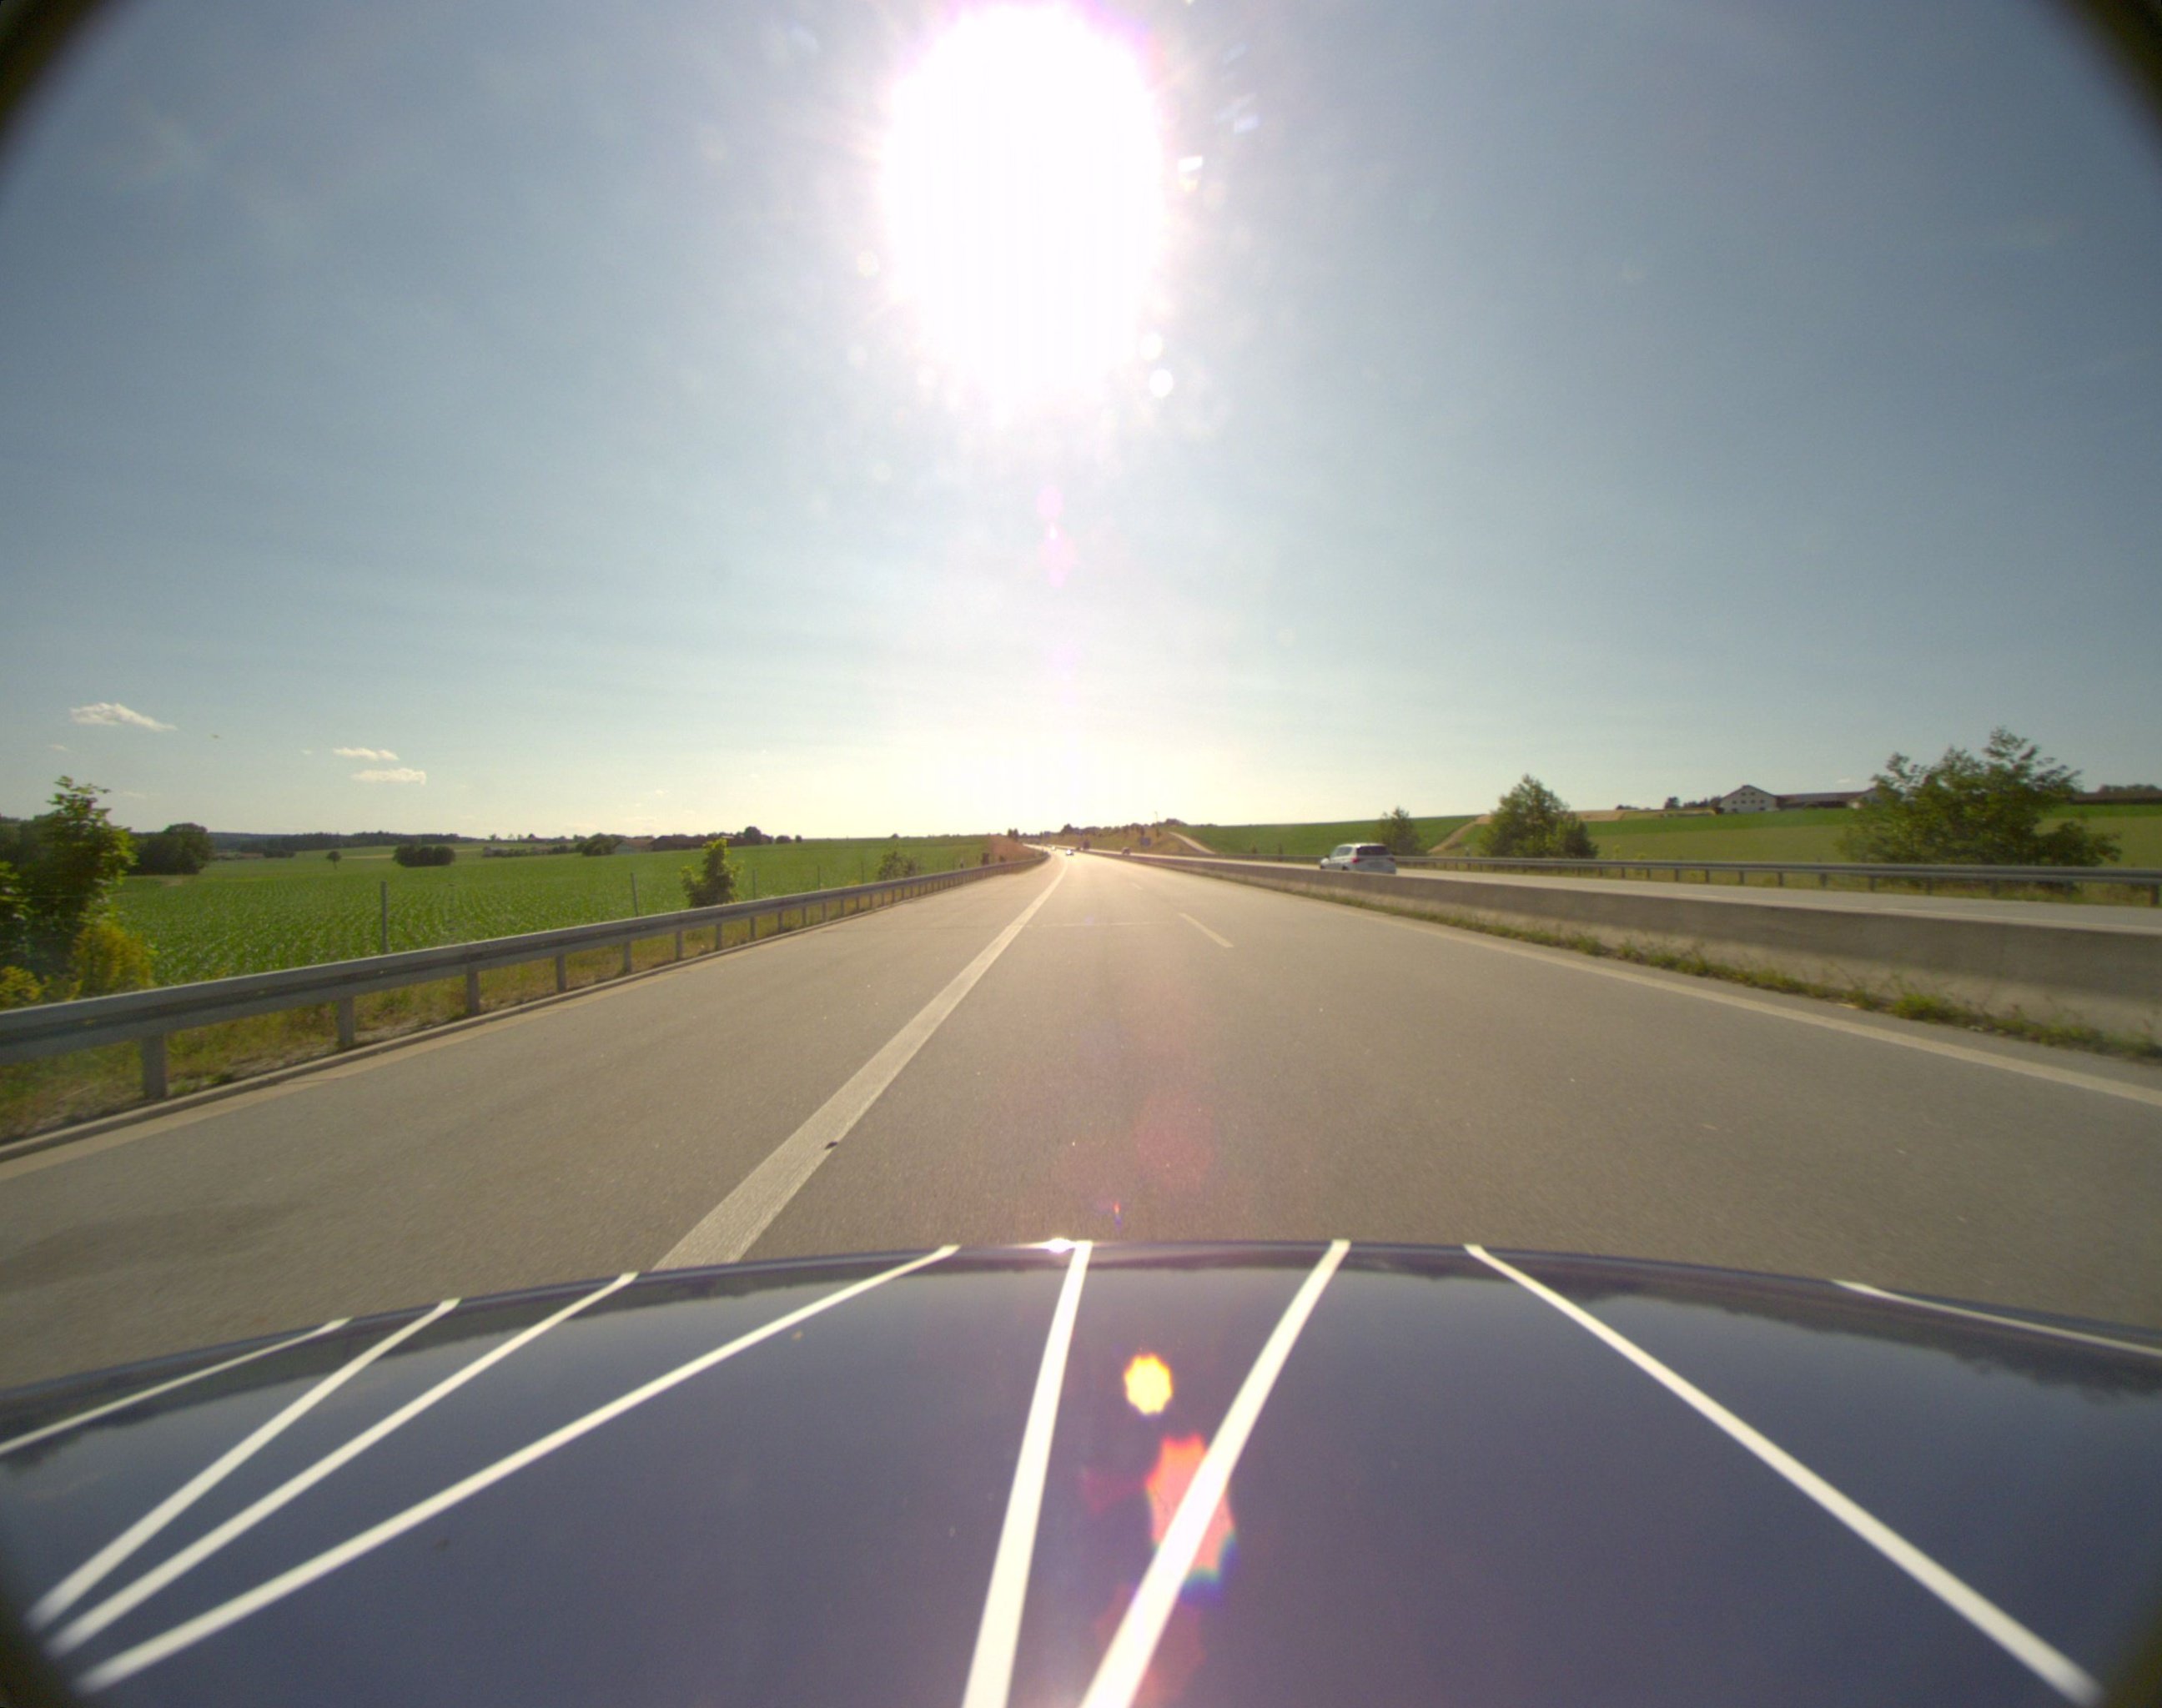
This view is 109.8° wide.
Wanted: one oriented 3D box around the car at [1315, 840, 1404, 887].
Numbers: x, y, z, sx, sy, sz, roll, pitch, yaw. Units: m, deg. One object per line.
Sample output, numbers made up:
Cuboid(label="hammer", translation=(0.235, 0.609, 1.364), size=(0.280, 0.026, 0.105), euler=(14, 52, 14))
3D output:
Cuboid(label="car", translation=(11.194, 0.331, 30.884), size=(1.871, 1.715, 4.397), euler=(-2, 1, -2))

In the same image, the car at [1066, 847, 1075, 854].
Cuboid(label="car", translation=(-2.538, -0.755, 181.167), size=(1.714, 1.580, 4.627), euler=(-2, 1, 3))
